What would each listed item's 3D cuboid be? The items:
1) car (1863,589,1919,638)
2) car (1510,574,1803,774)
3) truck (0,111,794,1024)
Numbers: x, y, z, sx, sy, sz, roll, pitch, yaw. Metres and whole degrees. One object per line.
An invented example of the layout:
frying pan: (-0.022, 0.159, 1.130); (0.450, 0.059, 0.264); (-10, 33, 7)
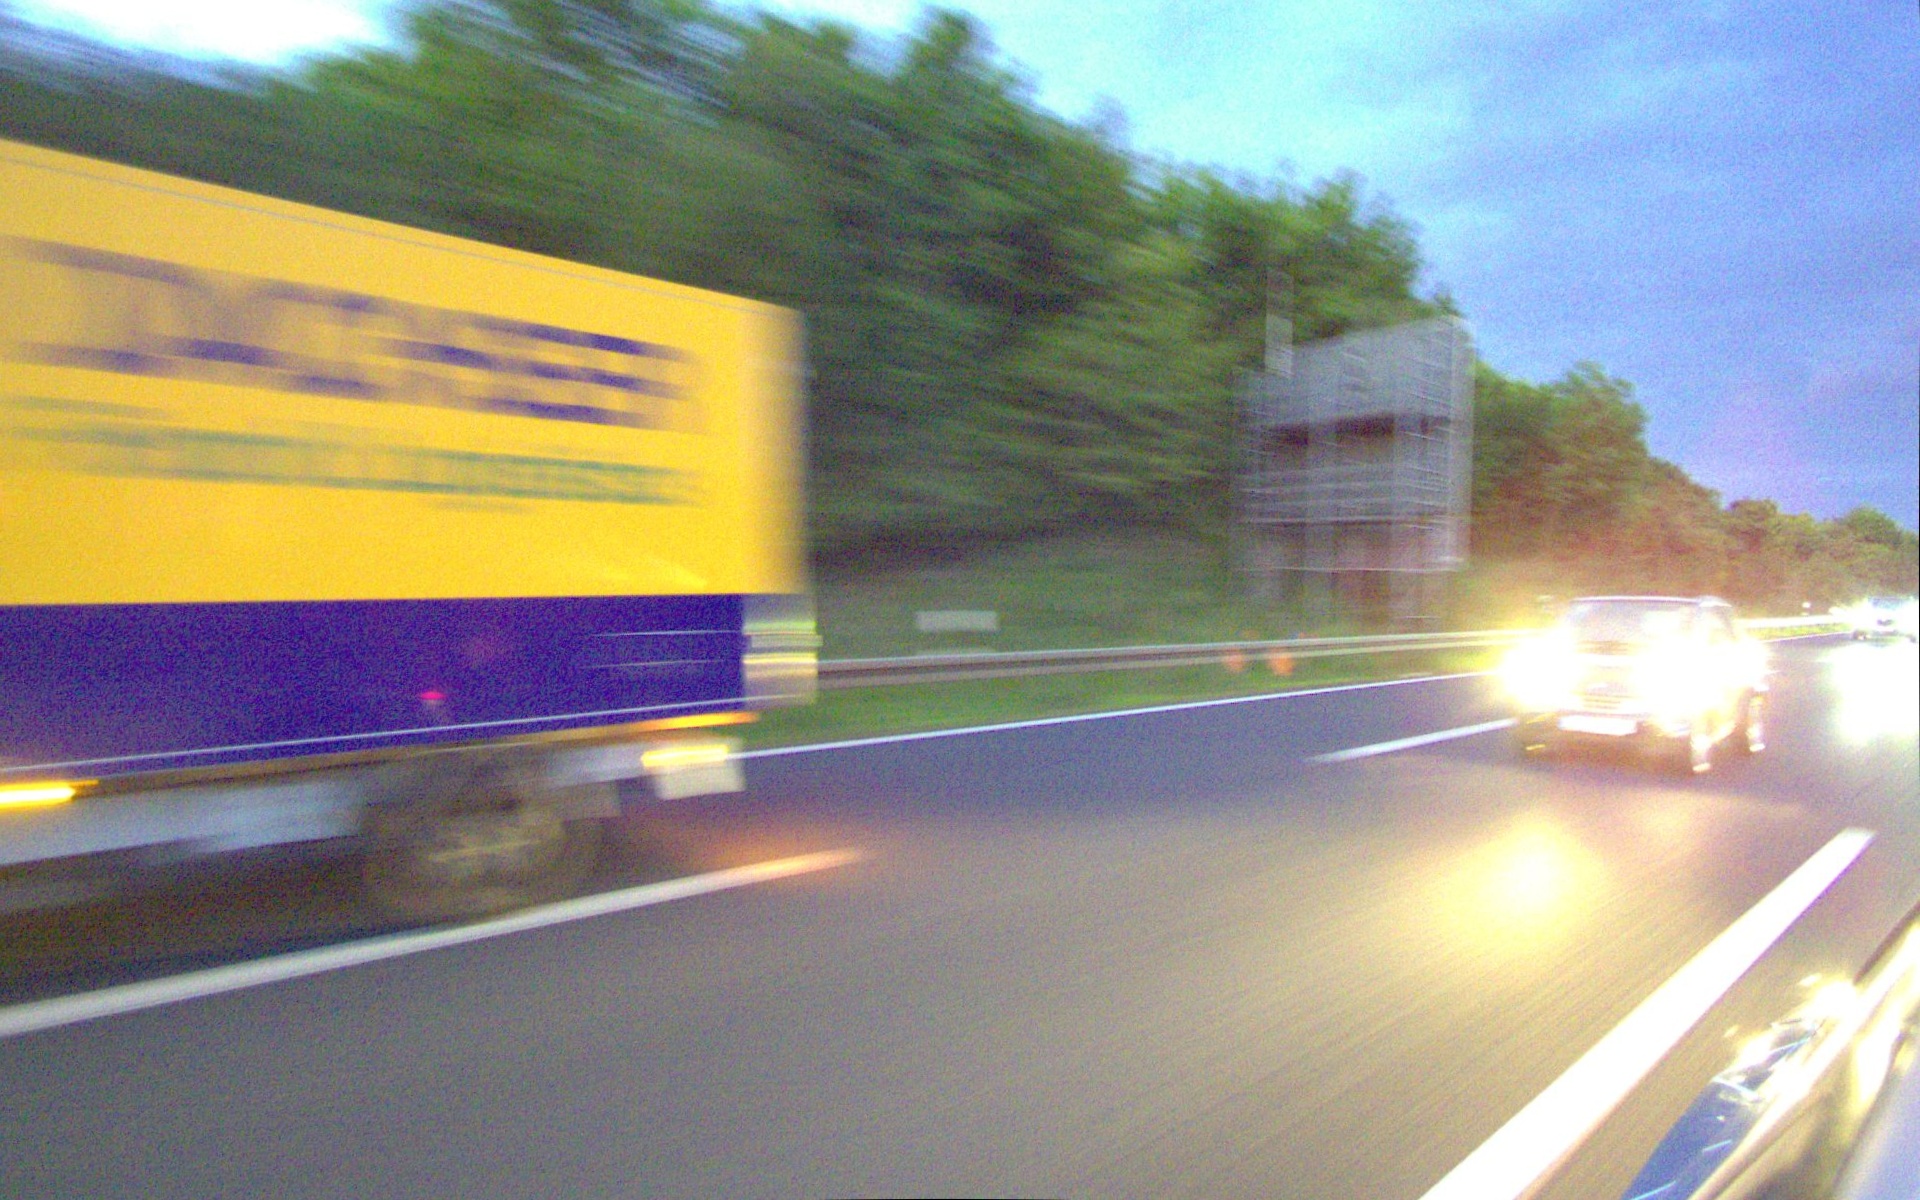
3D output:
car: (35.876, 0.461, 38.356); (5.071, 1.665, 1.802); (0, 3, -42)
car: (6.868, 0.565, 9.879); (3.262, 1.574, 1.613); (-1, 3, -42)
truck: (-4.050, -0.114, 4.064); (6.517, 3.009, 2.271); (0, 0, -42)
